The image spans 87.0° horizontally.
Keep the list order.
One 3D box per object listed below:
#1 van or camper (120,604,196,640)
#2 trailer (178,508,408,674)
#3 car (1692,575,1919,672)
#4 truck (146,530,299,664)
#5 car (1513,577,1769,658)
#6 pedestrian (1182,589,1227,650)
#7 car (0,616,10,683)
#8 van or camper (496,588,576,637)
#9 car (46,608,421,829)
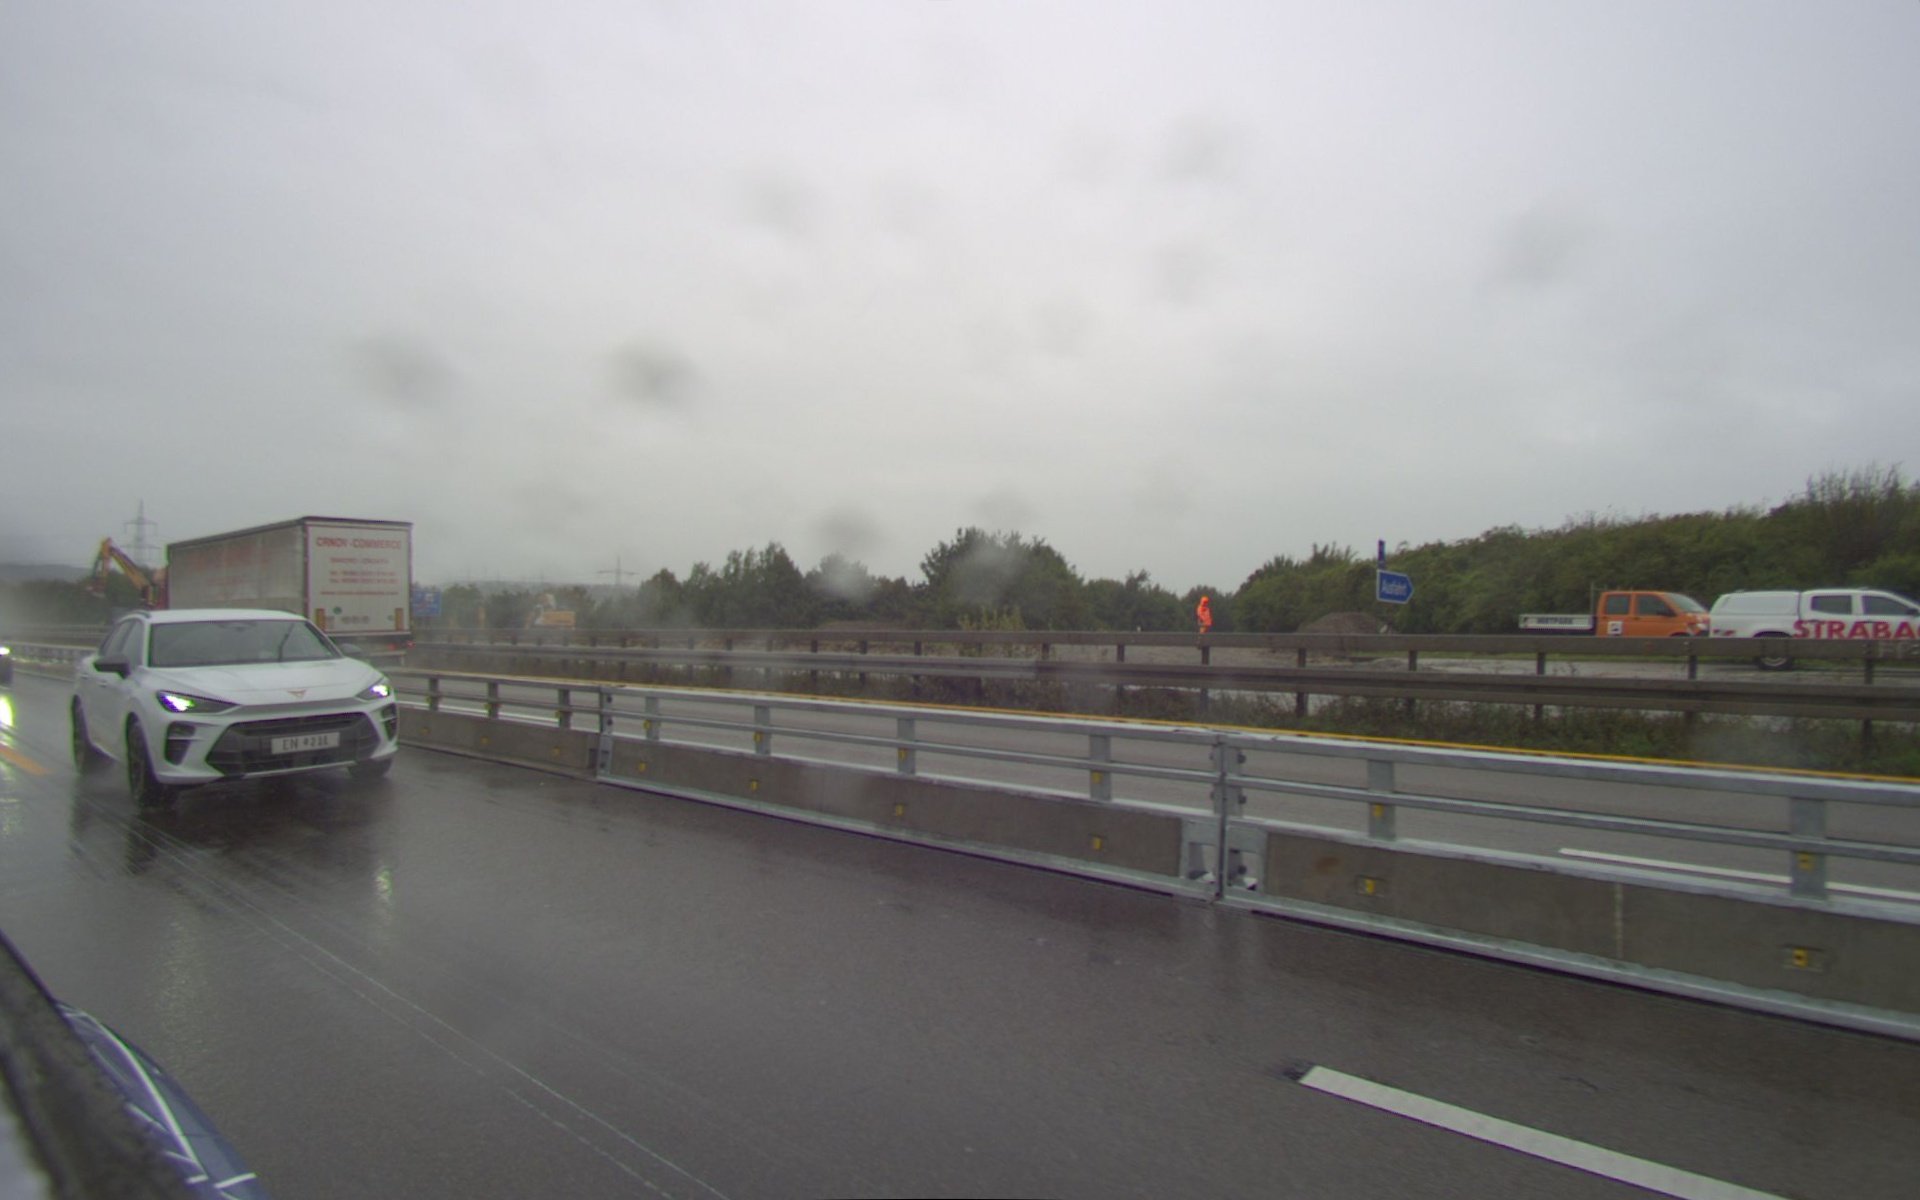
[{"bbox_3d":[-80.668,2.198,101.863,3.373,3.370,5.355,-1,0,38],"label":"van or camper"},{"bbox_3d":[-19.844,-0.150,29.598,11.923,4.037,2.585,-1,0,42],"label":"trailer"},{"bbox_3d":[19.460,0.501,22.172,5.362,1.981,2.072,-2,-1,41],"label":"car"},{"bbox_3d":[-25.080,-0.060,34.250,7.282,4.078,2.615,-1,0,41],"label":"truck"},{"bbox_3d":[19.232,0.488,28.941,2.329,2.092,5.596,0,-1,-28],"label":"car"},{"bbox_3d":[8.507,0.669,35.138,1.125,2.029,1.094,-1,0,39],"label":"pedestrian"},{"bbox_3d":[-26.008,1.265,25.912,5.194,1.640,2.042,-2,-1,42],"label":"car"},{"bbox_3d":[-39.532,1.196,94.206,8.500,4.356,3.333,-1,0,40],"label":"van or camper"},{"bbox_3d":[-7.070,0.893,9.595,5.006,1.562,1.907,-1,-1,42],"label":"car"}]
